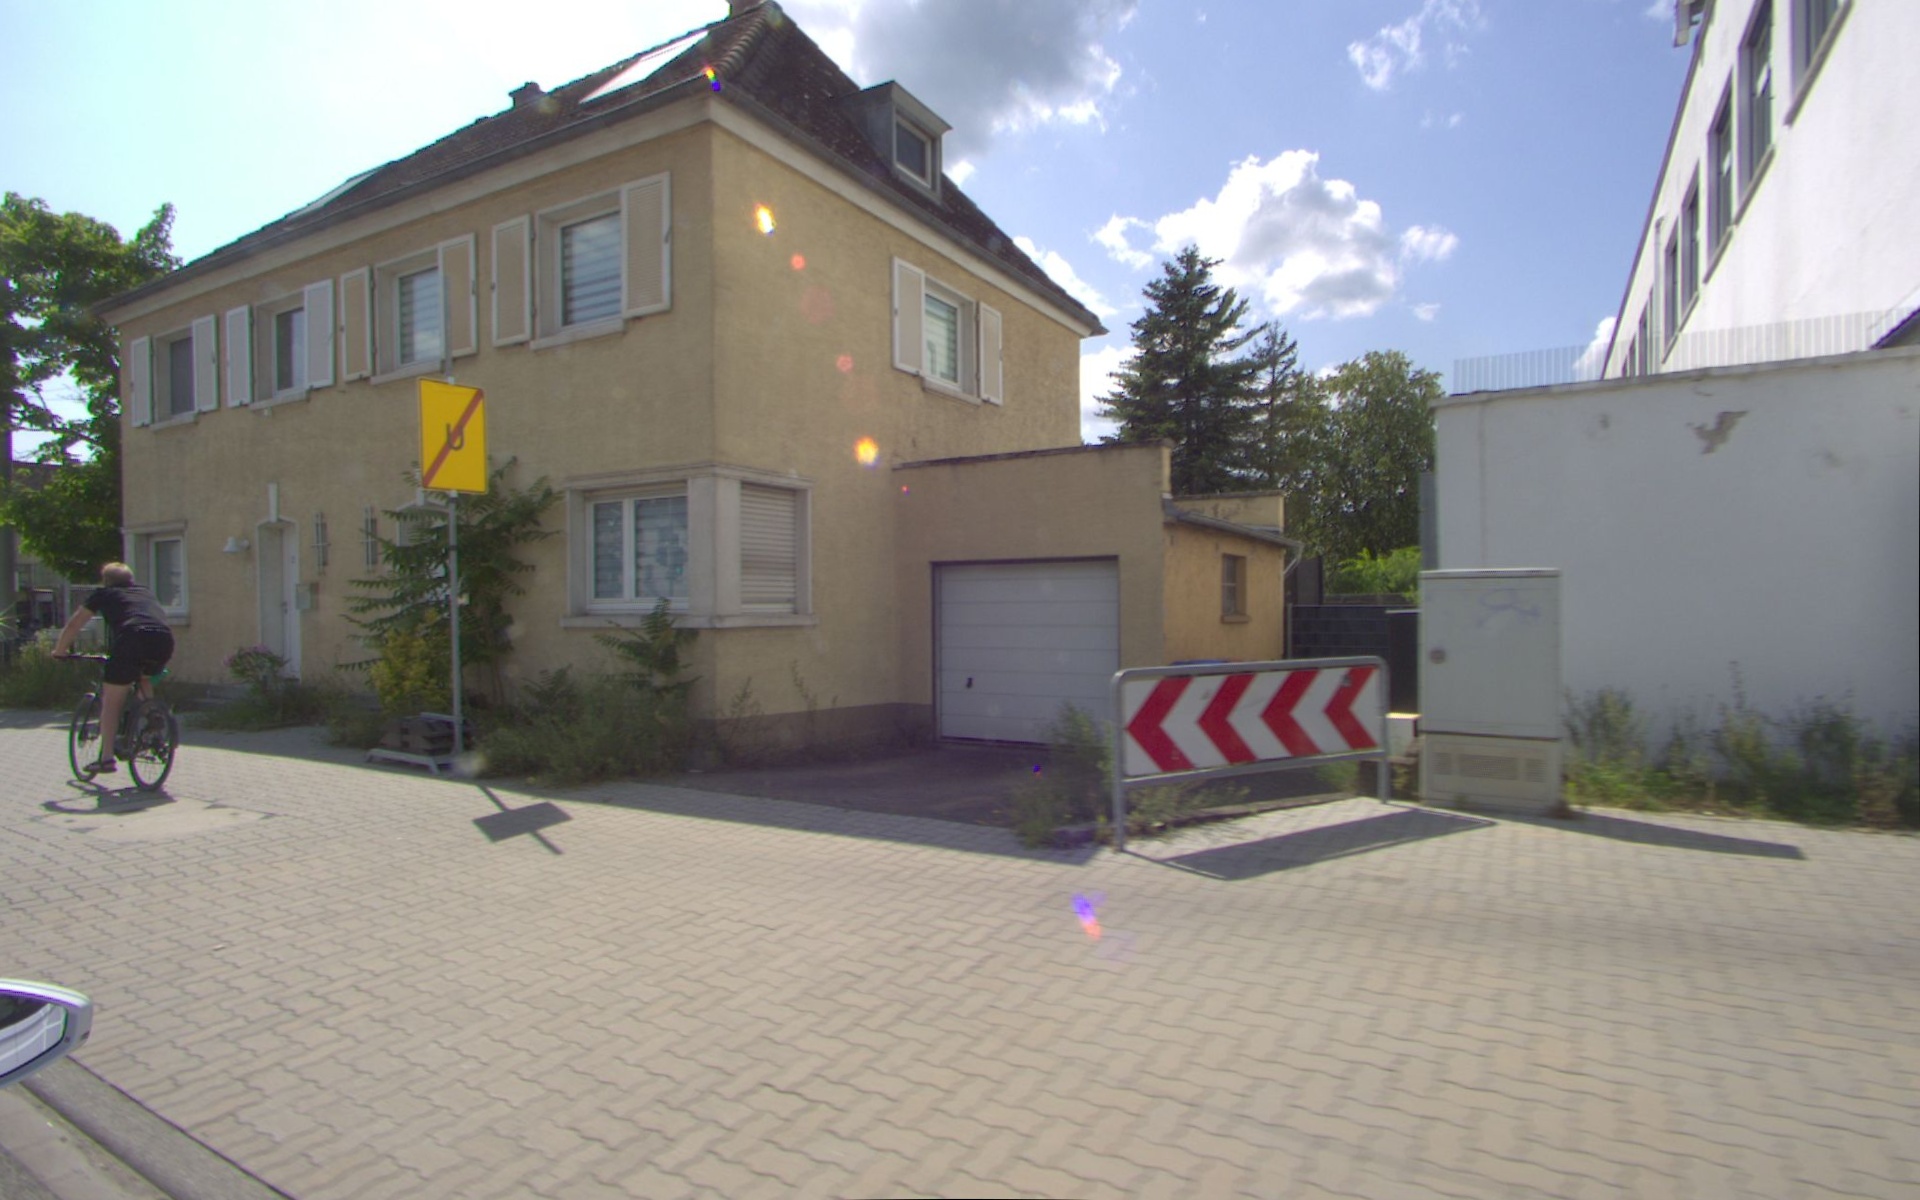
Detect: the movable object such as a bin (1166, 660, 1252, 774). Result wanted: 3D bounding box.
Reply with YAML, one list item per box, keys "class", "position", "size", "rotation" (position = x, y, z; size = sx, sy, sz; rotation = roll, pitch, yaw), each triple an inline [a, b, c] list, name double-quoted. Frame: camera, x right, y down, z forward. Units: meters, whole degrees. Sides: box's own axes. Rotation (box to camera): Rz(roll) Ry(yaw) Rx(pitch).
- class: "movable object such as a bin"
  position: [2.565, 1.178, 10.322]
  size: [0.659, 1.101, 0.611]
  rotation: [-1, -2, 42]

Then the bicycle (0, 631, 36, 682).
- class: "bicycle"
  position: [-19.777, 1.154, 20.574]
  size: [0.455, 1.031, 1.753]
  rotation: [0, -2, -17]

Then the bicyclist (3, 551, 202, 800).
- class: "bicyclist"
  position: [-6.763, 0.547, 7.912]
  size: [1.067, 1.818, 0.827]
  rotation: [0, 2, 28]

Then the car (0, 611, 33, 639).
- class: "car"
  position: [-48.959, 1.293, 50.801]
  size: [4.073, 1.368, 1.864]
  rotation: [-1, -2, 33]

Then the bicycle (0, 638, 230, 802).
- class: "bicycle"
  position: [-6.755, 0.881, 7.912]
  size: [1.940, 1.090, 0.827]
  rotation: [0, 2, 29]
